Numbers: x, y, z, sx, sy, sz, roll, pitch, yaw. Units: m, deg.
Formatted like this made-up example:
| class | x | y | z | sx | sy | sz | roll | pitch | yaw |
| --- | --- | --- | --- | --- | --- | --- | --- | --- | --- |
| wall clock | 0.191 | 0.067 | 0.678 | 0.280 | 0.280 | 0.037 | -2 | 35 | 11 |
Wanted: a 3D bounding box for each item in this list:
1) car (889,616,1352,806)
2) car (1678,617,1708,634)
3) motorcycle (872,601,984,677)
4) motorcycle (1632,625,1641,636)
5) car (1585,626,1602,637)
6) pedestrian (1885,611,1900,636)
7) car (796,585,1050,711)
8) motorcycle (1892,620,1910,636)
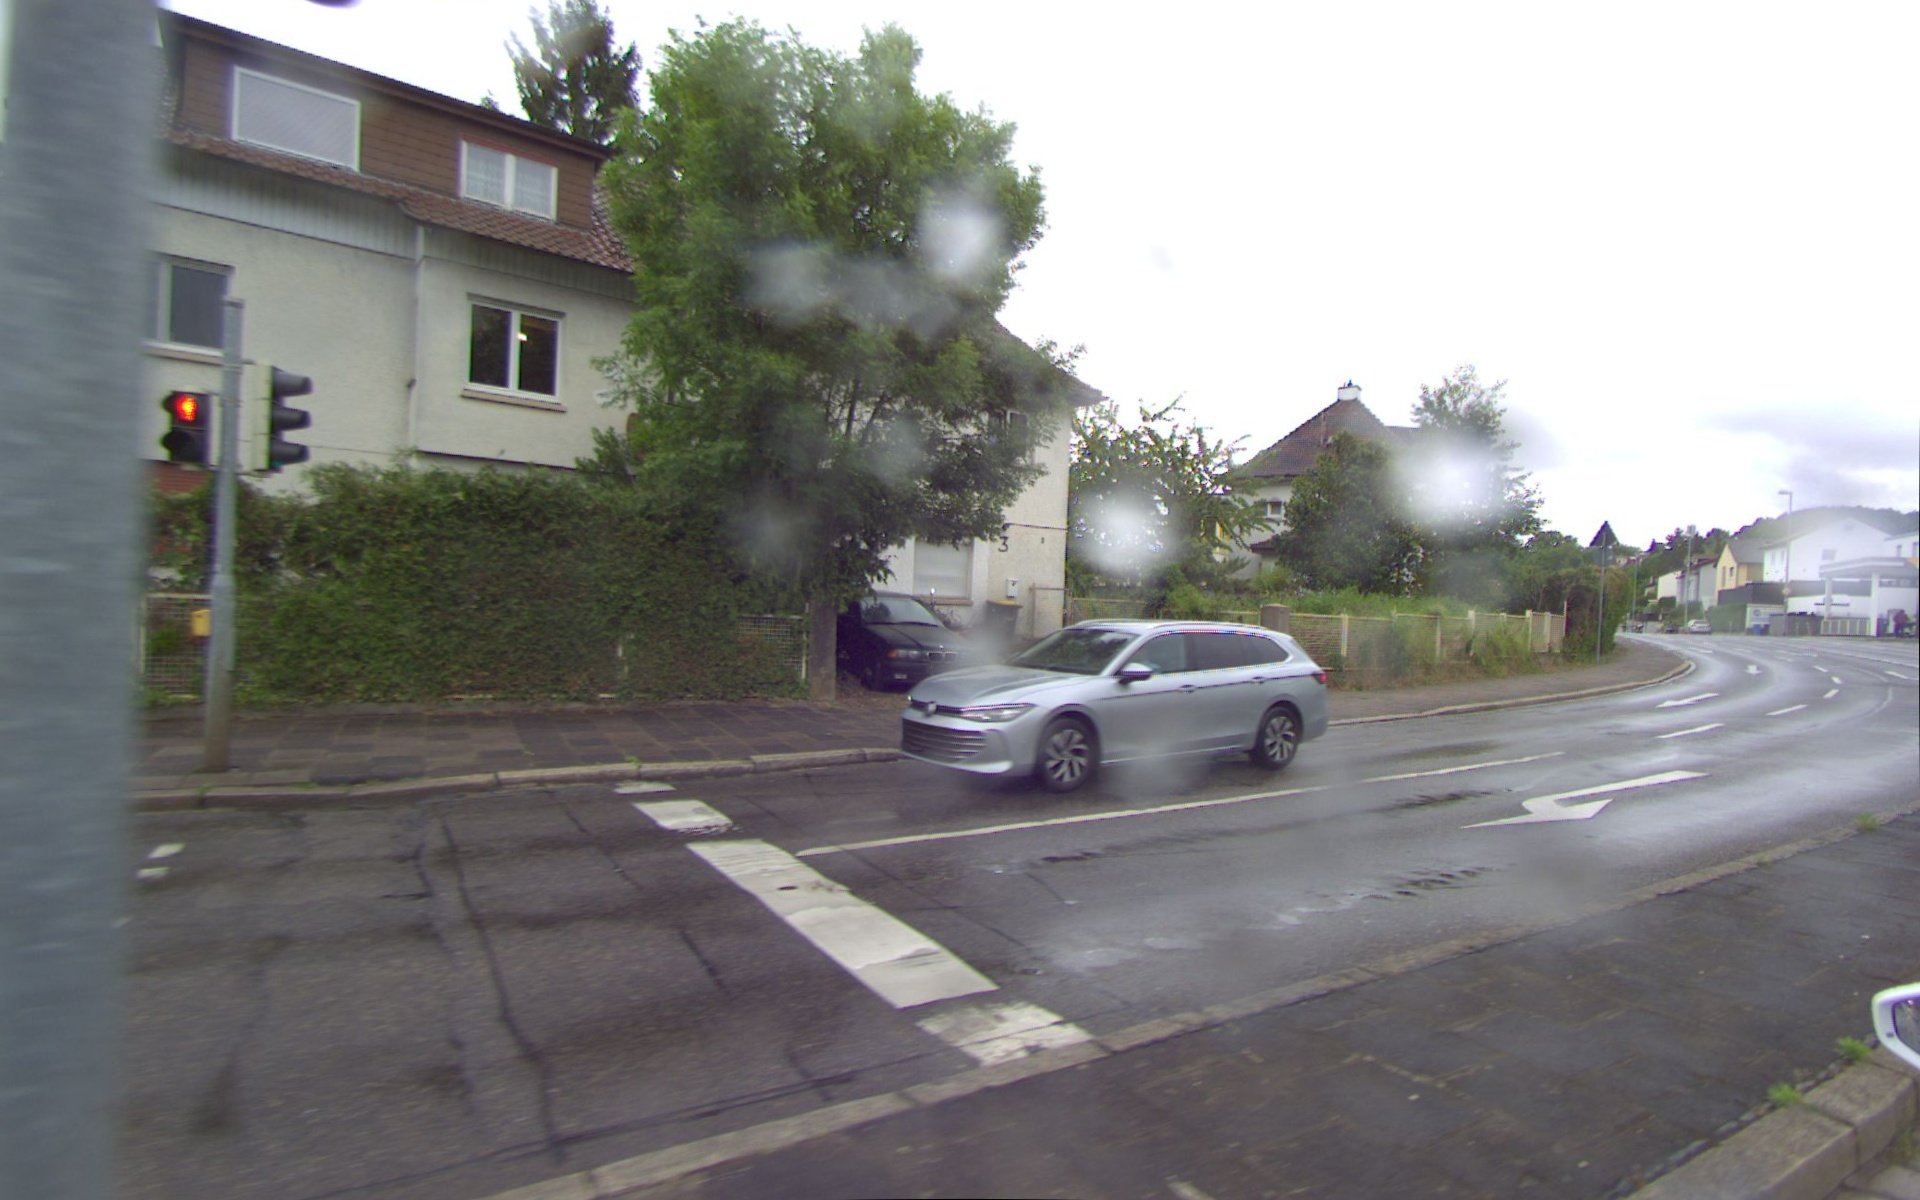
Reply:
| class | x | y | z | sx | sy | sz | roll | pitch | yaw |
| --- | --- | --- | --- | --- | --- | --- | --- | --- | --- |
| car | 1.737 | 1.000 | 9.984 | 4.641 | 1.469 | 1.665 | 3 | -1 | -34 |
| car | 73.632 | 2.589 | 100.914 | 1.674 | 1.530 | 4.530 | 2 | -1 | 26 |
| motorcycle | -0.609 | 0.662 | 17.873 | 0.722 | 1.104 | 2.182 | 2 | 3 | -41 |
| motorcycle | 89.237 | 4.034 | 132.437 | 0.692 | 1.529 | 2.148 | -1 | -2 | 27 |
| car | 103.329 | 5.160 | 163.894 | 1.963 | 1.763 | 3.996 | 2 | -1 | 27 |
| pedestrian | 62.438 | 1.584 | 67.261 | 0.600 | 1.678 | 0.585 | 2 | -1 | 28 |
| car | -0.696 | 0.643 | 15.502 | 1.916 | 1.413 | 3.955 | 2 | 4 | -38 |
| motorcycle | 62.735 | 1.884 | 66.963 | 0.455 | 1.069 | 1.389 | 2 | -1 | 27 |
